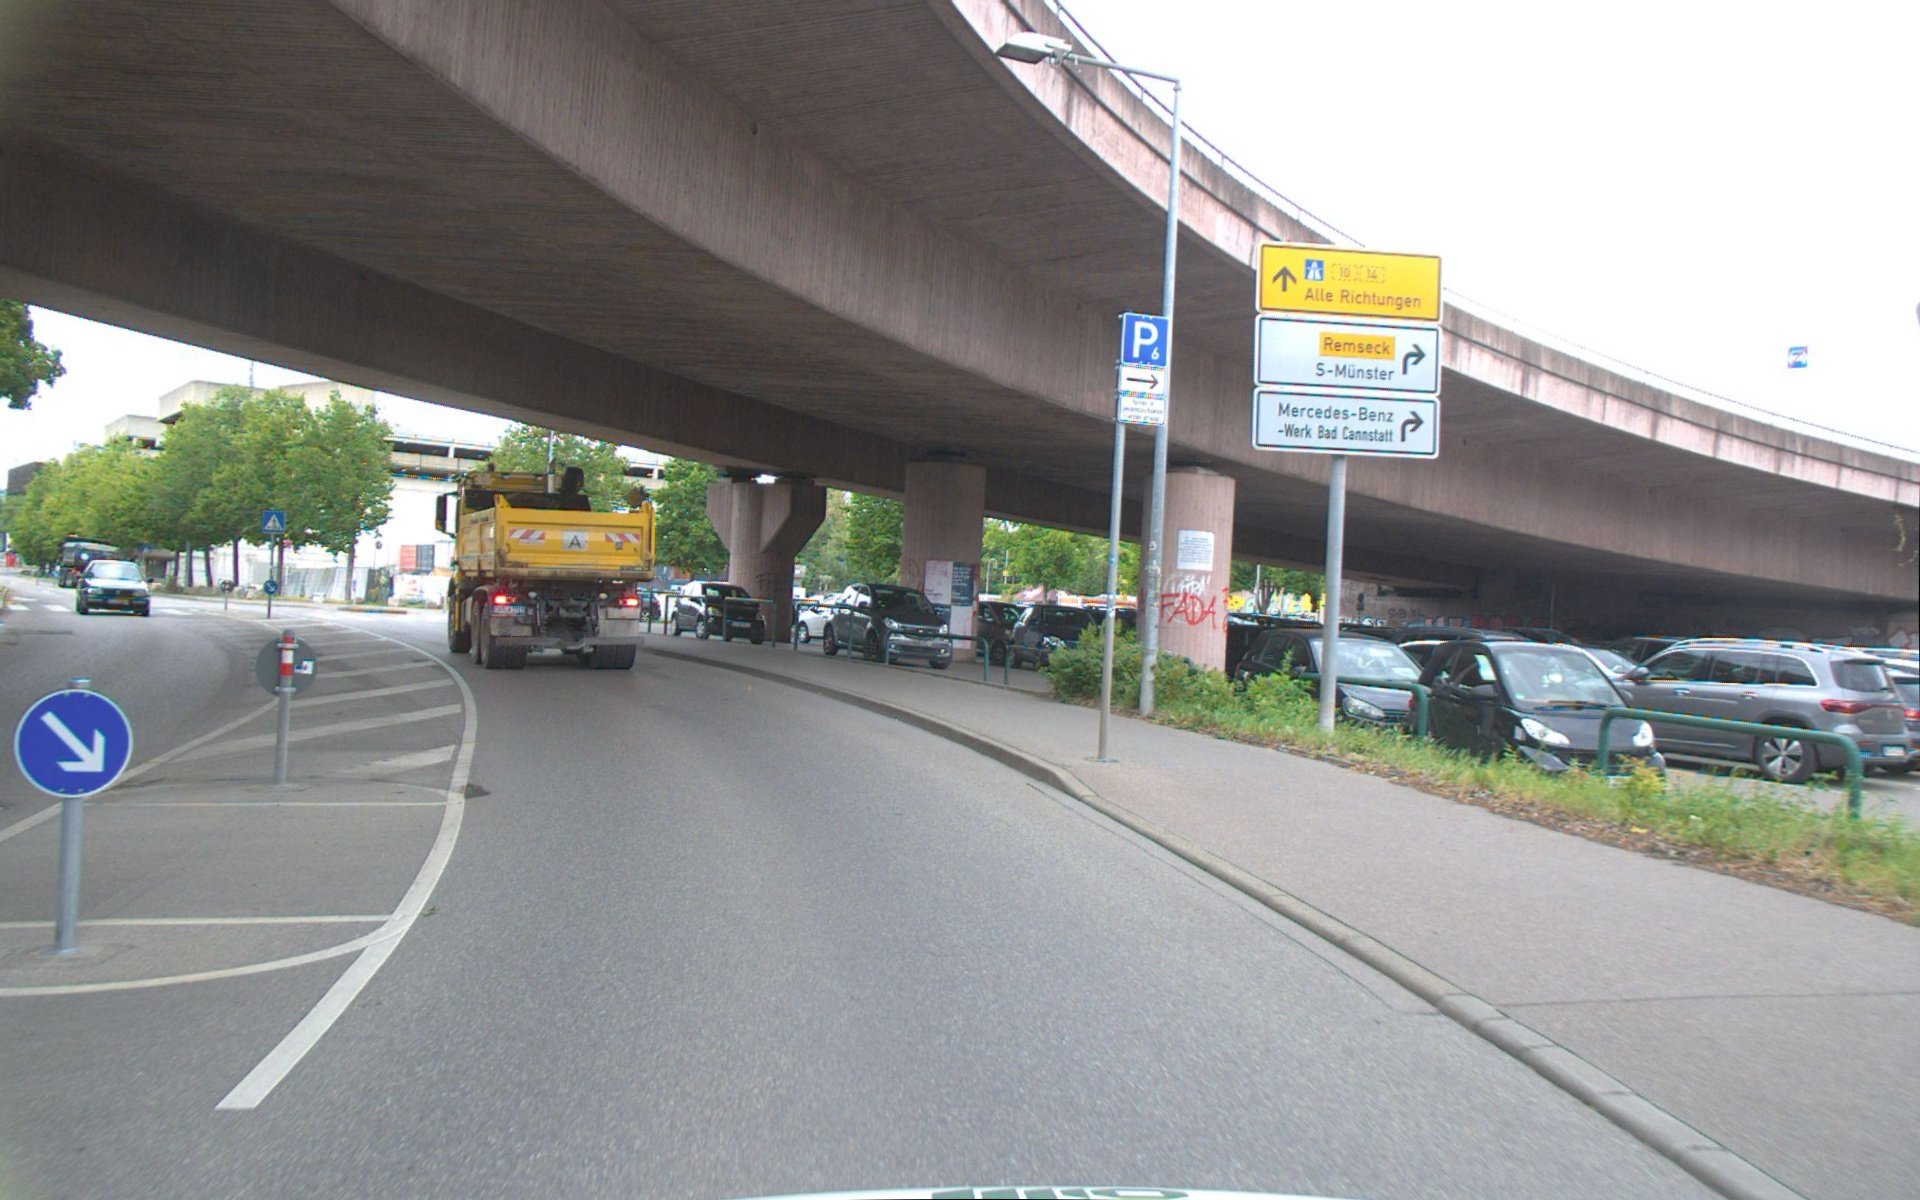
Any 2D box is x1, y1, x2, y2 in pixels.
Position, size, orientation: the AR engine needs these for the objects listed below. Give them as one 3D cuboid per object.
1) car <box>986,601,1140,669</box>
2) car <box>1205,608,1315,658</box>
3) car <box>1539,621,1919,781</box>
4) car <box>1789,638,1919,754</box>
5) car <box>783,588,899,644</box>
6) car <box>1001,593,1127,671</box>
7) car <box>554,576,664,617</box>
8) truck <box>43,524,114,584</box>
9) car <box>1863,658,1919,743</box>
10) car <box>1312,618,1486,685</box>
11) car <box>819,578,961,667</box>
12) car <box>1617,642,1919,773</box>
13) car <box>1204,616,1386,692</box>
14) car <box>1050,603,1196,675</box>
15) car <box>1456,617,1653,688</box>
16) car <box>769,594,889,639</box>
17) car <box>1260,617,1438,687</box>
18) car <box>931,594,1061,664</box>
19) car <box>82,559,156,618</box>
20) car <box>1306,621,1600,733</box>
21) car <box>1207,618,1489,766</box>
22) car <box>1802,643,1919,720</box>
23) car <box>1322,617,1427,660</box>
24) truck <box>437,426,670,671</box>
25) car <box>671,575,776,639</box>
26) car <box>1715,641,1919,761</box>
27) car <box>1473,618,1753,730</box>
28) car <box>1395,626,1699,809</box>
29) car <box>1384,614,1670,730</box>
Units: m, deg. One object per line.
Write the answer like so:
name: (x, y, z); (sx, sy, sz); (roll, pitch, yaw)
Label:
car: (2.621, 0.885, 43.059); (1.814, 1.495, 4.334); (4, -1, -31)
car: (11.351, 1.247, 62.647); (1.743, 1.666, 3.803); (3, 0, -42)
car: (10.048, 1.241, 21.698); (1.726, 1.704, 4.414); (3, 0, -35)
car: (15.819, 1.593, 26.328); (1.737, 1.720, 4.377); (3, 0, -35)
car: (-3.738, 0.478, 51.582); (1.623, 1.579, 3.956); (3, -1, -39)
car: (2.264, 0.718, 37.080); (1.754, 1.533, 3.846); (4, -2, -13)
car: (-15.622, -0.161, 73.720); (4.476, 1.602, 1.831); (3, -1, -25)
truck: (-56.121, -2.869, 105.245); (2.655, 3.621, 7.814); (0, 0, -38)
car: (17.669, 1.801, 27.539); (1.613, 1.387, 4.351); (3, 0, -35)
car: (11.363, 1.305, 43.018); (1.817, 1.491, 4.140); (3, 0, -36)
car: (-1.457, 0.420, 33.259); (1.586, 1.560, 3.383); (5, -1, -25)
car: (11.818, 1.464, 23.440); (1.737, 1.474, 4.403); (3, 0, -35)
car: (8.005, 1.270, 39.819); (1.817, 1.577, 4.140); (3, 0, -36)
car: (4.353, 1.021, 44.616); (1.817, 1.728, 3.814); (3, 0, -36)
car: (16.969, 1.479, 47.440); (2.067, 1.706, 5.043); (3, 0, -35)
car: (-4.754, 0.606, 60.333); (4.204, 1.445, 1.490); (3, 1, -38)
car: (9.677, 1.277, 41.372); (1.817, 1.491, 4.140); (3, 0, -36)
car: (0.875, 0.718, 41.787); (1.513, 1.526, 3.333); (6, -2, -35)
car: (-22.822, -0.319, 44.954); (1.656, 1.455, 3.966); (3, 0, -26)
car: (7.590, 1.159, 25.810); (1.817, 1.446, 4.140); (3, 0, -36)
car: (4.605, 1.046, 20.301); (1.699, 1.505, 4.237); (3, 0, -12)
car: (22.109, 1.925, 38.442); (1.817, 1.620, 4.140); (3, 0, -36)
car: (16.733, 1.542, 66.886); (1.743, 1.504, 3.803); (3, 0, -42)
truck: (-7.492, -0.795, 29.616); (2.722, 3.763, 7.821); (0, 0, -24)
car: (-6.052, 0.159, 42.074); (1.586, 1.421, 3.551); (5, -1, -25)
car: (13.822, 1.522, 25.017); (1.737, 1.584, 4.037); (3, 0, -36)
car: (11.126, 1.229, 28.438); (1.817, 1.620, 4.140); (3, 0, -36)
car: (5.554, 1.069, 15.959); (1.512, 1.505, 2.753); (3, 0, -12)
car: (9.205, 1.135, 27.155); (1.817, 1.620, 4.140); (3, 0, -36)
